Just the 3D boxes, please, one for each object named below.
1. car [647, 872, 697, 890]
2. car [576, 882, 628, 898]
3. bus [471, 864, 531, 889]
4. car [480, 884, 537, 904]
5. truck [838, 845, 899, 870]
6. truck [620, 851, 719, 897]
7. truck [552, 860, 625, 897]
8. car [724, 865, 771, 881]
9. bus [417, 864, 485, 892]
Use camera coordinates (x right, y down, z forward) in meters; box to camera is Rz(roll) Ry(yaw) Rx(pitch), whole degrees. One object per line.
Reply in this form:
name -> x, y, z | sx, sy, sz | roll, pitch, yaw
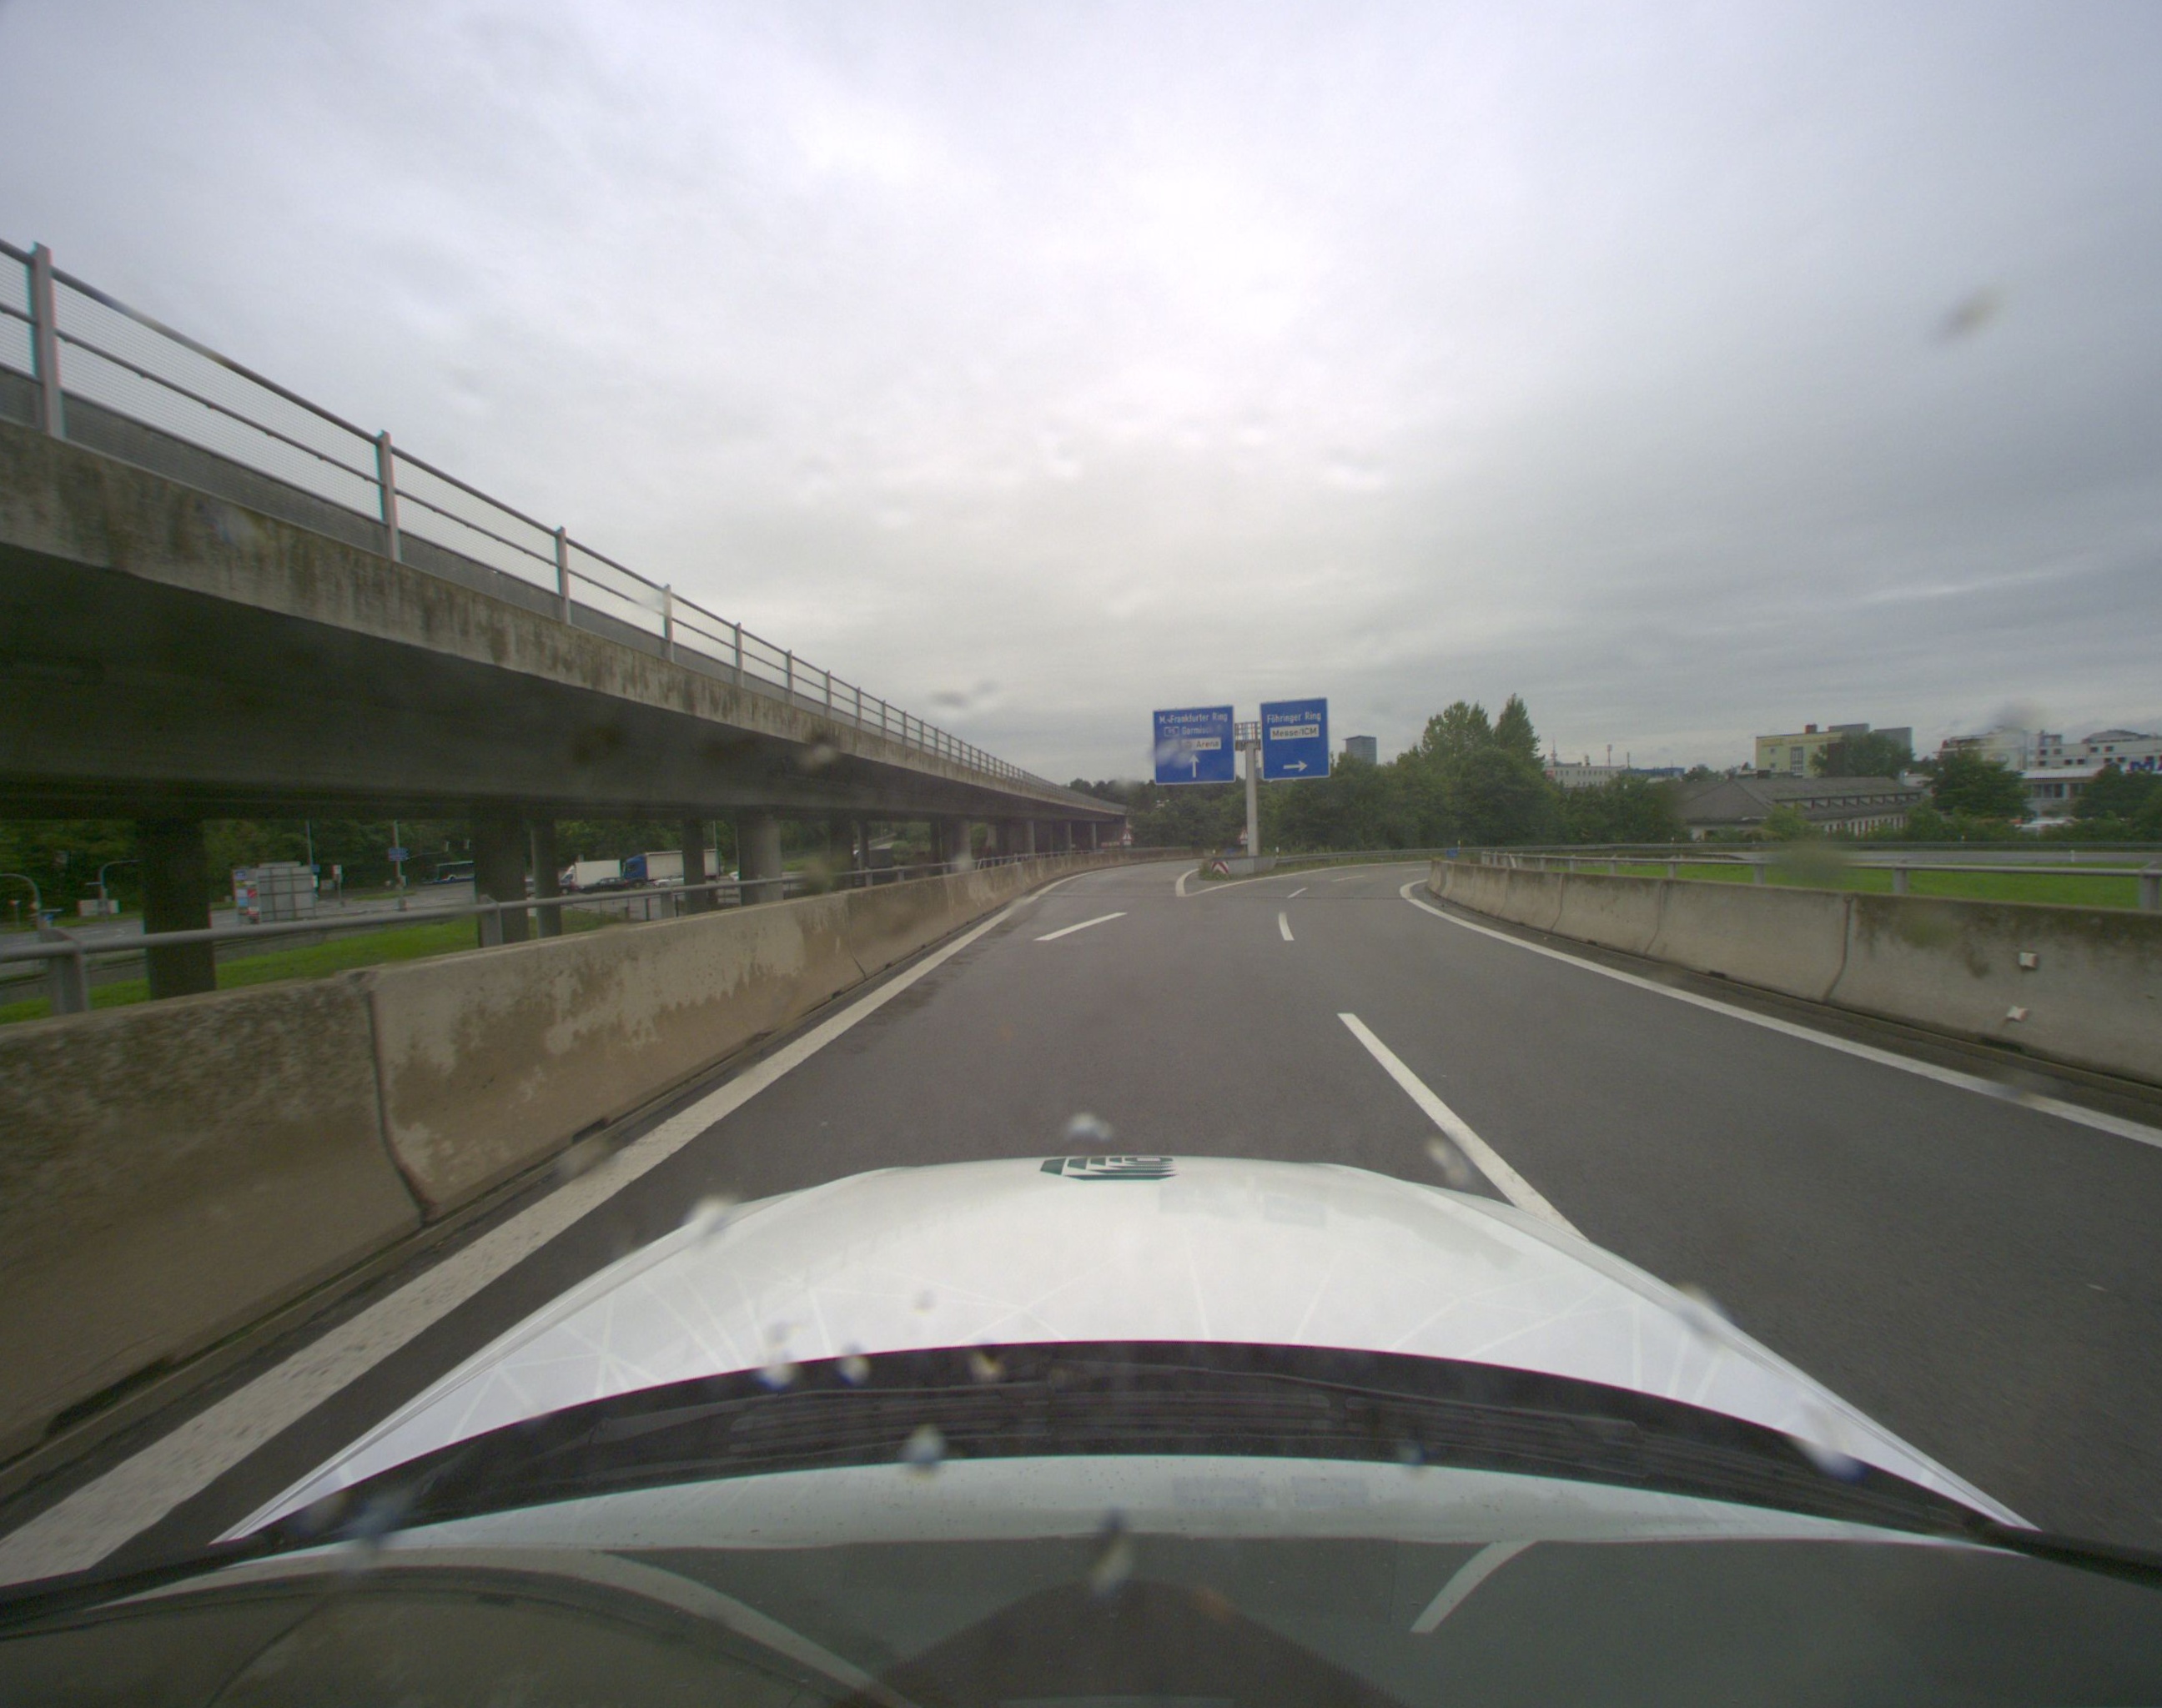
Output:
car -> -44.665, 2.926, 89.069 | 4.611, 1.583, 1.954 | -3, 1, -35
car -> -50.067, 3.702, 85.166 | 4.609, 1.583, 1.954 | 1, -2, -35
bus -> -92.241, 3.456, 129.796 | 2.216, 3.701, 9.916 | -1, 0, 2
car -> -56.920, 3.961, 81.046 | 4.611, 1.606, 1.954 | -3, 0, -35
truck -> -27.119, 0.385, 104.097 | 7.259, 2.977, 2.237 | -1, 0, -32
truck -> -46.207, 2.182, 91.647 | 9.638, 4.591, 2.770 | -3, 0, -33
truck -> -54.603, 2.703, 90.398 | 6.669, 3.679, 2.770 | -3, 0, -33
car -> -38.320, 2.154, 93.544 | 4.611, 1.583, 1.954 | -3, 1, -35
bus -> -92.528, 3.448, 119.848 | 2.216, 3.701, 9.912 | -1, 0, 1
